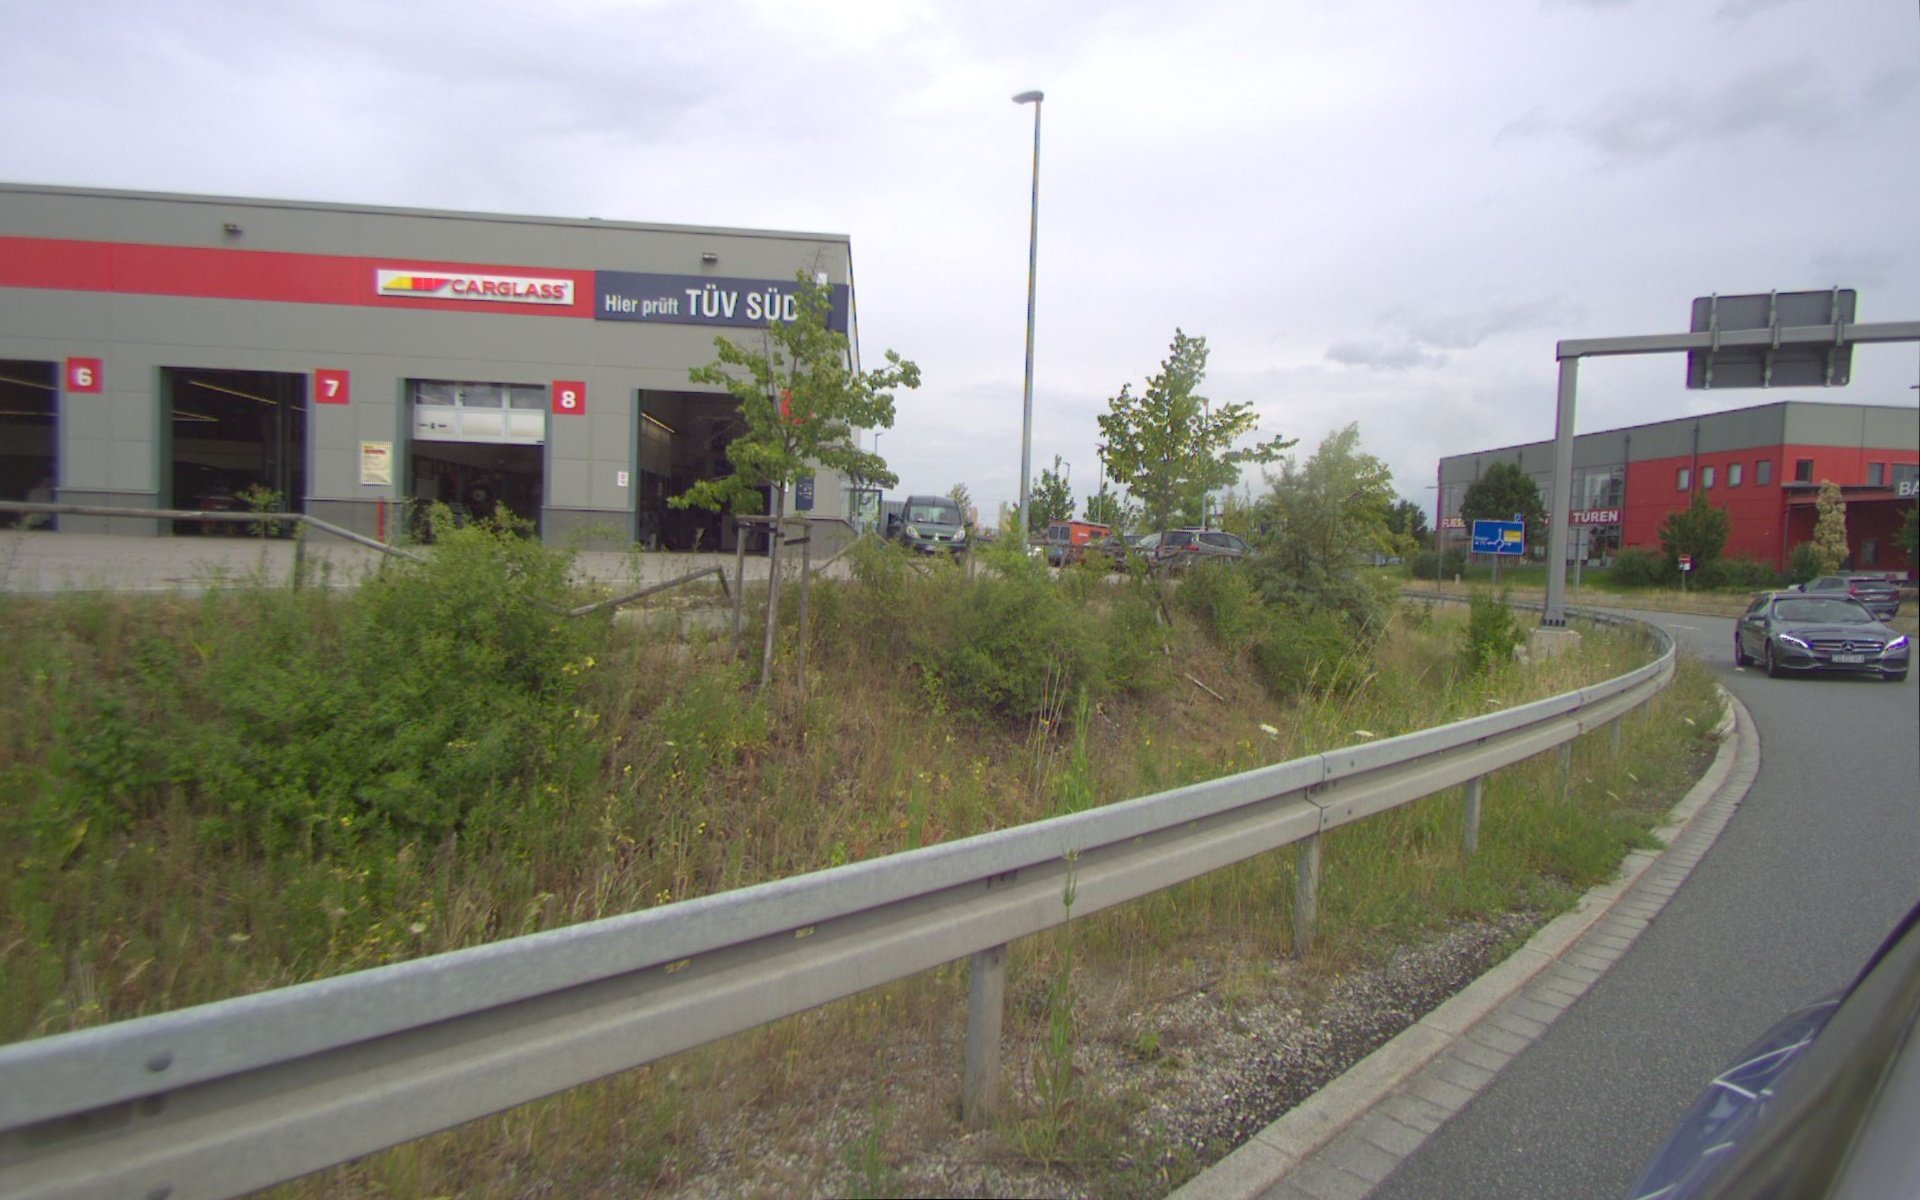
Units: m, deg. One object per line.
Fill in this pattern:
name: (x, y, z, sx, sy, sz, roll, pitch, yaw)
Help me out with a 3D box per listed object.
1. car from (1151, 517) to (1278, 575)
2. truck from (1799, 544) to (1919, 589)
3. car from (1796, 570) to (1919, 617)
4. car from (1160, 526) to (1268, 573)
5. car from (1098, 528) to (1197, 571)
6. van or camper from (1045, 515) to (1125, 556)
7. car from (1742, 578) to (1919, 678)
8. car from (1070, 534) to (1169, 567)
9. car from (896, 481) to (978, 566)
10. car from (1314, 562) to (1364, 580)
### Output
car: (8.409, -1.784, 33.349, 4.091, 1.804, 1.805, -3, 2, -35)
truck: (53.108, -2.034, 59.685, 1.999, 2.517, 5.915, 0, 3, -4)
car: (33.750, -0.266, 38.164, 1.791, 1.650, 4.660, -1, 1, 18)
car: (9.480, -1.884, 37.764, 3.656, 1.673, 1.522, -2, 2, -21)
car: (7.766, -2.075, 41.891, 3.718, 1.537, 1.695, 2, 1, -29)
van or camper: (6.642, -3.377, 53.505, 1.808, 2.021, 4.602, 2, 3, 44)
car: (15.485, 0.411, 18.112, 1.892, 1.516, 4.291, -1, 1, 32)
car: (7.531, -2.326, 47.789, 4.496, 1.417, 1.707, 0, 4, -29)
car: (-0.651, -1.891, 25.628, 1.671, 1.833, 3.977, 4, 3, -5)
car: (32.874, -2.519, 88.008, 1.760, 1.465, 4.982, -2, 2, -10)
